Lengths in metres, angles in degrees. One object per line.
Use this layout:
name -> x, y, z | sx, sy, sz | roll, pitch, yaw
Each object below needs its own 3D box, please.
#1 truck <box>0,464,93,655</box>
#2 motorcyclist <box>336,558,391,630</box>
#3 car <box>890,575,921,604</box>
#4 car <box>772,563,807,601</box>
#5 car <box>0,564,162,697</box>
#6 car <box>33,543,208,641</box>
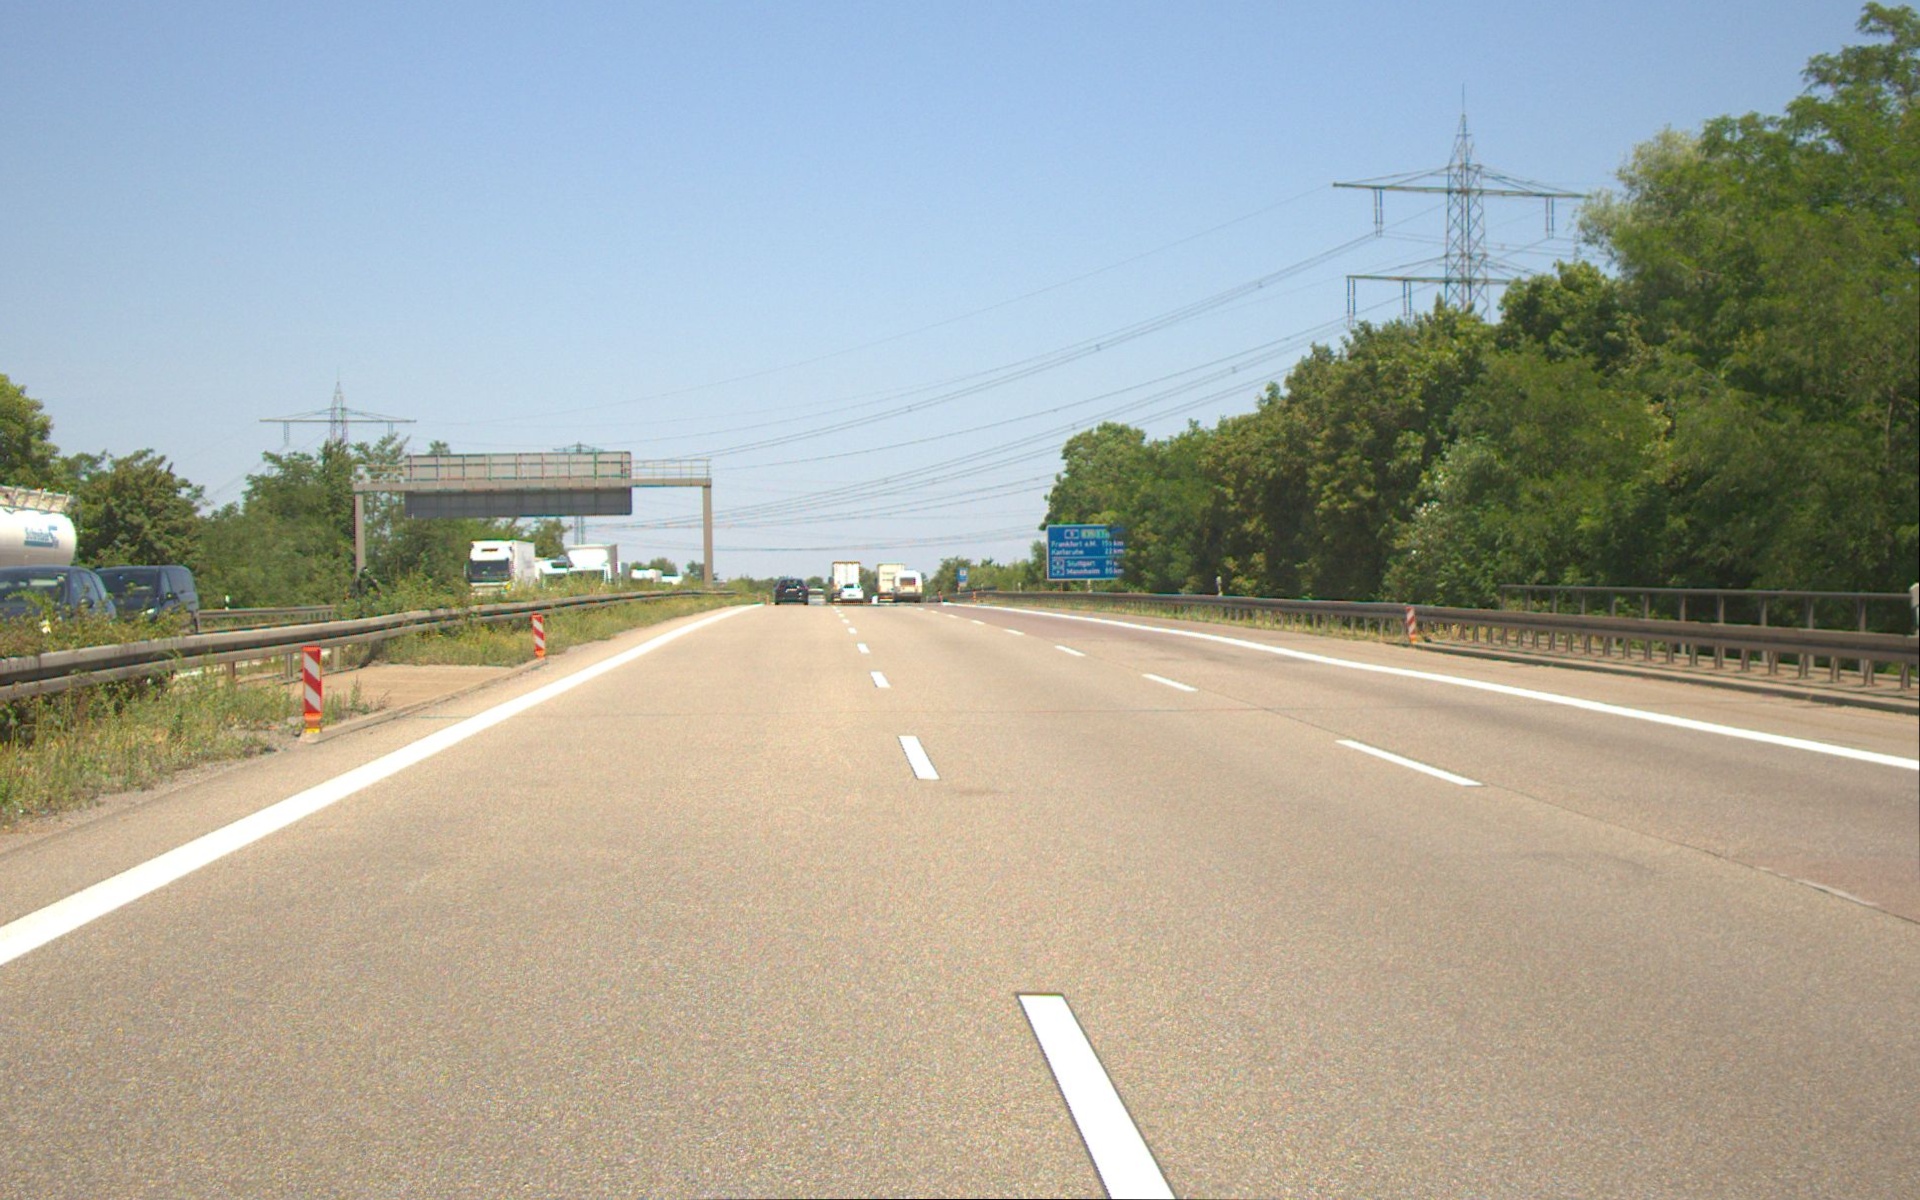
truck -> -21.645, -0.849, 73.369 | 2.728, 4.039, 15.938 | -1, 0, -2
motorcyclist -> -12.926, -0.127, 74.527 | 0.972, 1.515, 1.335 | -2, 0, -3
car -> -3.770, -0.737, 238.493 | 1.993, 2.007, 4.000 | -1, 0, -3
car -> -9.096, -0.971, 183.606 | 1.791, 2.007, 3.888 | 1, 1, -2
car -> -12.571, 0.394, 48.038 | 1.993, 1.724, 4.093 | -1, 1, -2
car -> -17.504, -0.203, 71.967 | 2.412, 1.911, 5.783 | -1, 1, -2
